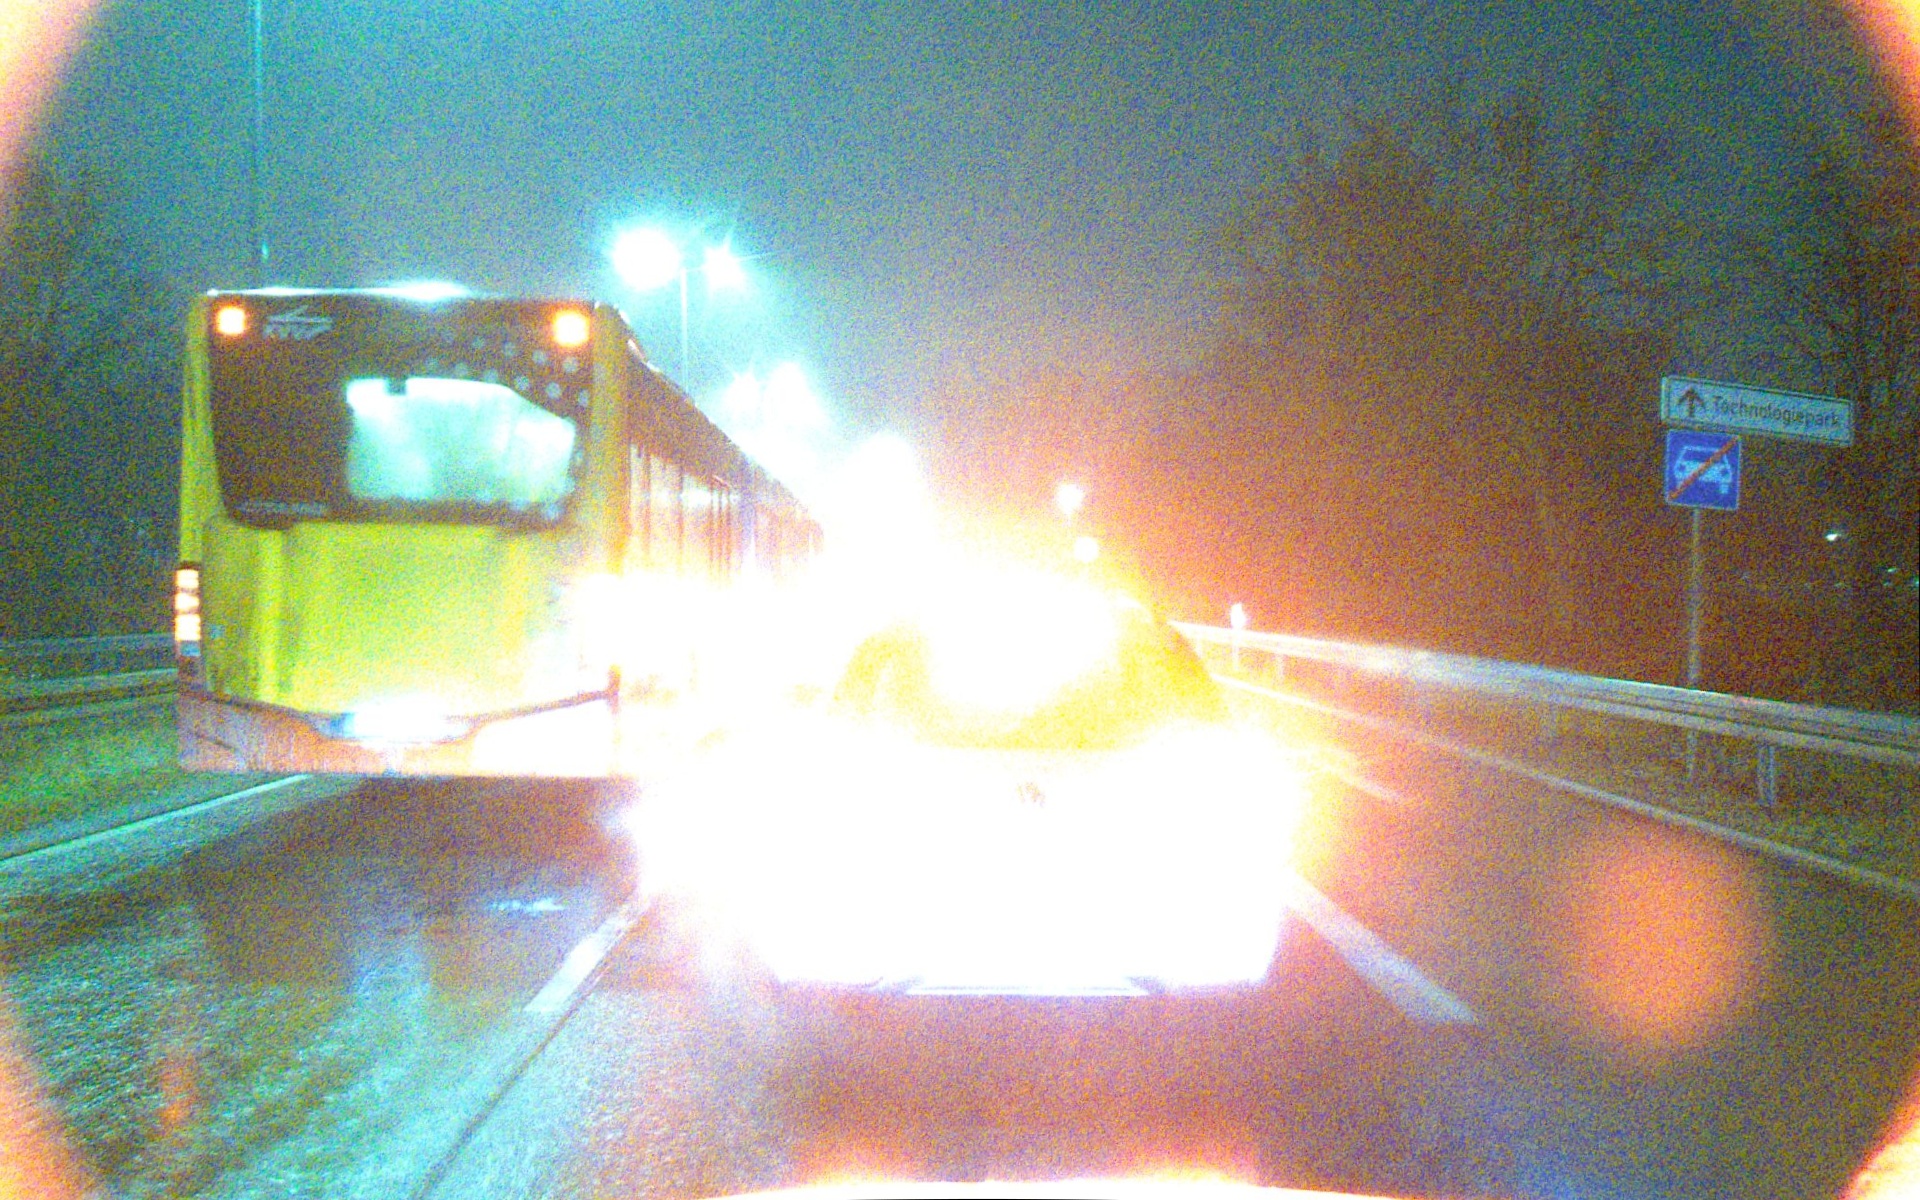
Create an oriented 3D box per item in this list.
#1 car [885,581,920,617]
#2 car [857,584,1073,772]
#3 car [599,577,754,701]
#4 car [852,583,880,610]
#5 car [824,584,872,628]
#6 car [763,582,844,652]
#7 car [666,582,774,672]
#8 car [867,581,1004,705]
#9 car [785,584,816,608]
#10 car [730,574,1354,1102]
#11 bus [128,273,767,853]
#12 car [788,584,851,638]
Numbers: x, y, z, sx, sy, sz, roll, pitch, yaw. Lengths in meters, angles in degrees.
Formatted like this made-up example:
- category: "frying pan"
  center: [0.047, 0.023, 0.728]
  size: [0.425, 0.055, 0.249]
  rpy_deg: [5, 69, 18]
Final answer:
- category: "car"
  center: [-3.378, -0.064, 97.888]
  size: [1.953, 2.049, 3.999]
  rpy_deg: [1, 0, -1]
- category: "car"
  center: [-0.067, 0.607, 15.496]
  size: [1.697, 1.474, 4.722]
  rpy_deg: [1, 0, -3]
- category: "car"
  center: [-3.859, 0.484, 23.070]
  size: [1.744, 1.570, 3.871]
  rpy_deg: [1, 0, -4]
- category: "car"
  center: [-6.694, -0.239, 117.575]
  size: [1.779, 1.829, 3.802]
  rpy_deg: [1, 0, -1]
- category: "car"
  center: [-4.229, 0.208, 62.156]
  size: [1.744, 1.570, 3.871]
  rpy_deg: [1, 0, -4]
- category: "car"
  center: [-3.680, 0.375, 39.405]
  size: [1.744, 1.570, 3.872]
  rpy_deg: [1, 0, -3]
- category: "car"
  center: [-4.464, 0.468, 31.220]
  size: [1.744, 1.570, 3.871]
  rpy_deg: [1, 0, -4]
- category: "car"
  center: [-0.418, 0.551, 23.387]
  size: [1.705, 1.592, 3.773]
  rpy_deg: [1, 0, -4]
- category: "car"
  center: [-11.749, -0.302, 121.840]
  size: [1.953, 1.668, 3.999]
  rpy_deg: [1, 0, -1]
- category: "car"
  center: [0.217, 0.670, 7.037]
  size: [1.784, 1.510, 4.567]
  rpy_deg: [0, 0, -1]
- category: "bus"
  center: [-3.232, -0.217, 13.194]
  size: [2.759, 3.077, 8.682]
  rpy_deg: [0, 0, -3]
- category: "car"
  center: [-4.184, 0.307, 49.809]
  size: [1.744, 1.570, 3.873]
  rpy_deg: [1, 0, -3]
